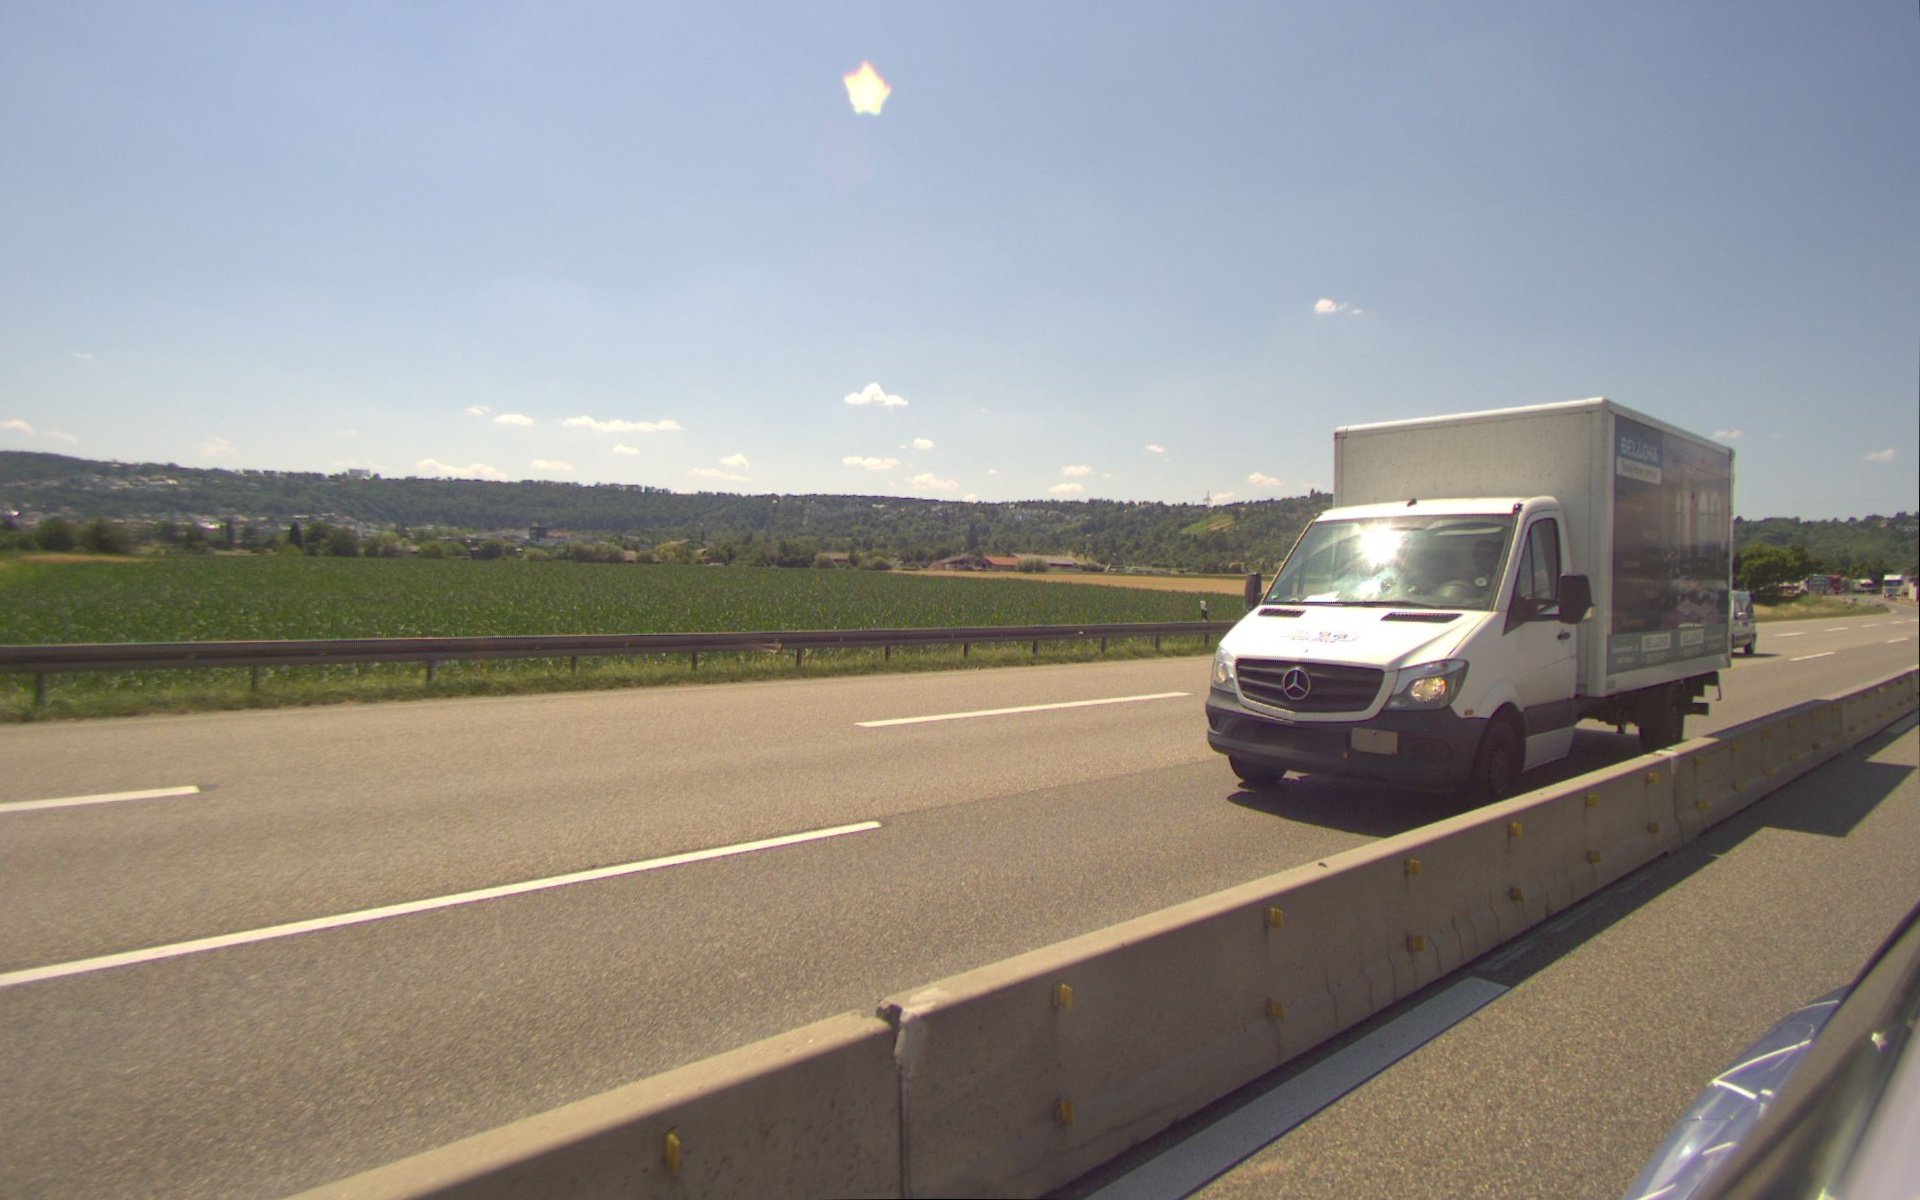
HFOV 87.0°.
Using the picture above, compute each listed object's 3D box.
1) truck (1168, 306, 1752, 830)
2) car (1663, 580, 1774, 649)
[{"bbox_3d":[4.856,-0.183,9.065,6.632,3.106,2.325,1,0,-41],"label":"truck"},{"bbox_3d":[20.818,0.378,27.732,3.902,1.759,1.630,1,0,-40],"label":"car"}]
